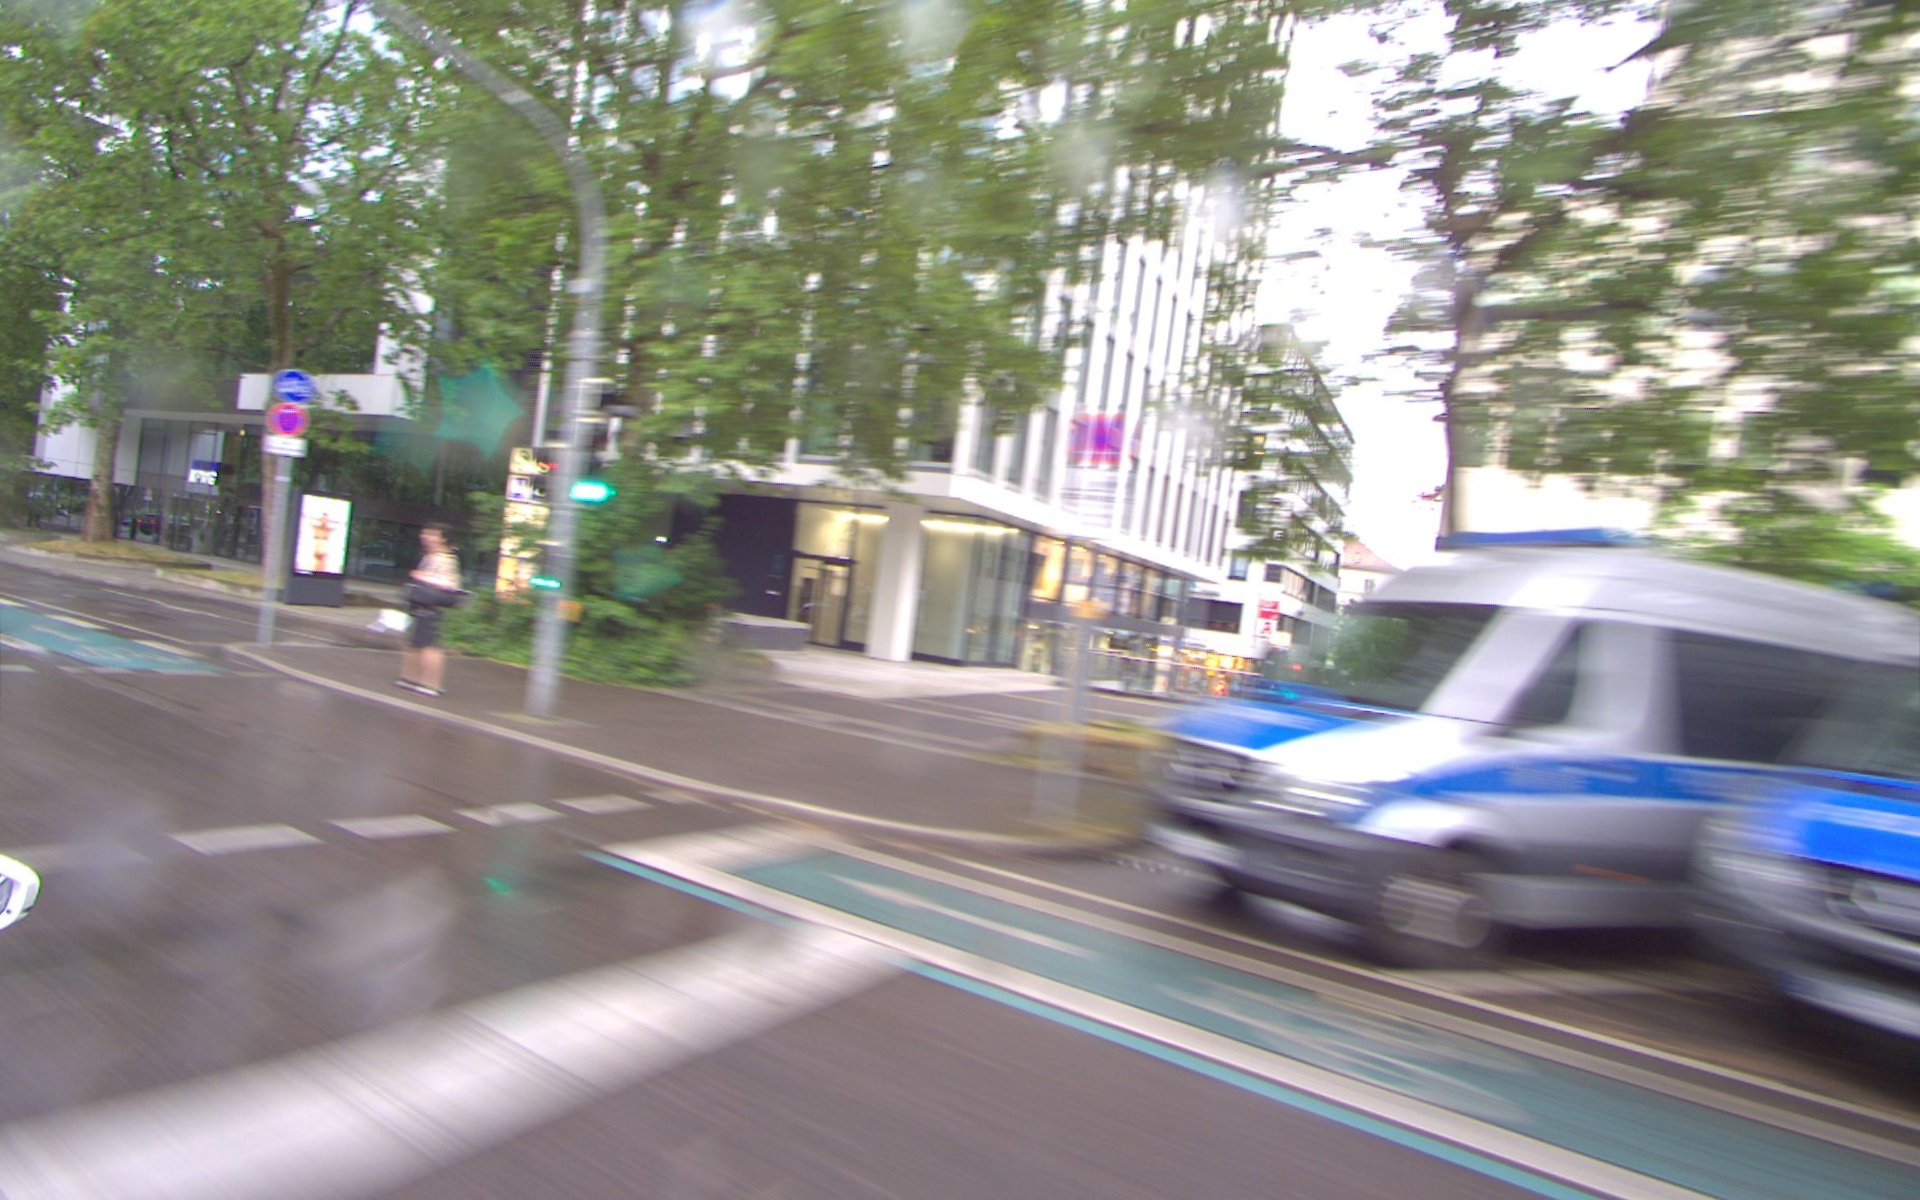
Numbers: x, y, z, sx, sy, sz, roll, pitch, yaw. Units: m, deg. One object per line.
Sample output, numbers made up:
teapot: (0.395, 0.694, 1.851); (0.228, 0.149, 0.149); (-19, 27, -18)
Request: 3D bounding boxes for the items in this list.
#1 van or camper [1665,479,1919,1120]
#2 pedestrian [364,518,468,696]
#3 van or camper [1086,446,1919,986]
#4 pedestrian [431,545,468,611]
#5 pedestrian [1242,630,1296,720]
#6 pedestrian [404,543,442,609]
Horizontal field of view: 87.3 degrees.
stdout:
van or camper: (6.754, 1.180, 5.382); (5.737, 2.712, 1.989); (8, 0, -24)
pedestrian: (-5.963, 0.086, 11.044); (0.554, 1.853, 0.607); (7, 0, 22)
van or camper: (4.056, 0.931, 7.071); (5.738, 2.709, 2.137); (8, -1, -22)
pedestrian: (-15.302, -0.649, 30.169); (0.597, 1.877, 0.563); (7, 0, 29)
pedestrian: (7.286, 1.768, 23.739); (0.698, 2.039, 0.762); (5, 1, -40)
pedestrian: (-15.667, -0.689, 29.351); (0.597, 1.816, 0.563); (7, 0, 29)
